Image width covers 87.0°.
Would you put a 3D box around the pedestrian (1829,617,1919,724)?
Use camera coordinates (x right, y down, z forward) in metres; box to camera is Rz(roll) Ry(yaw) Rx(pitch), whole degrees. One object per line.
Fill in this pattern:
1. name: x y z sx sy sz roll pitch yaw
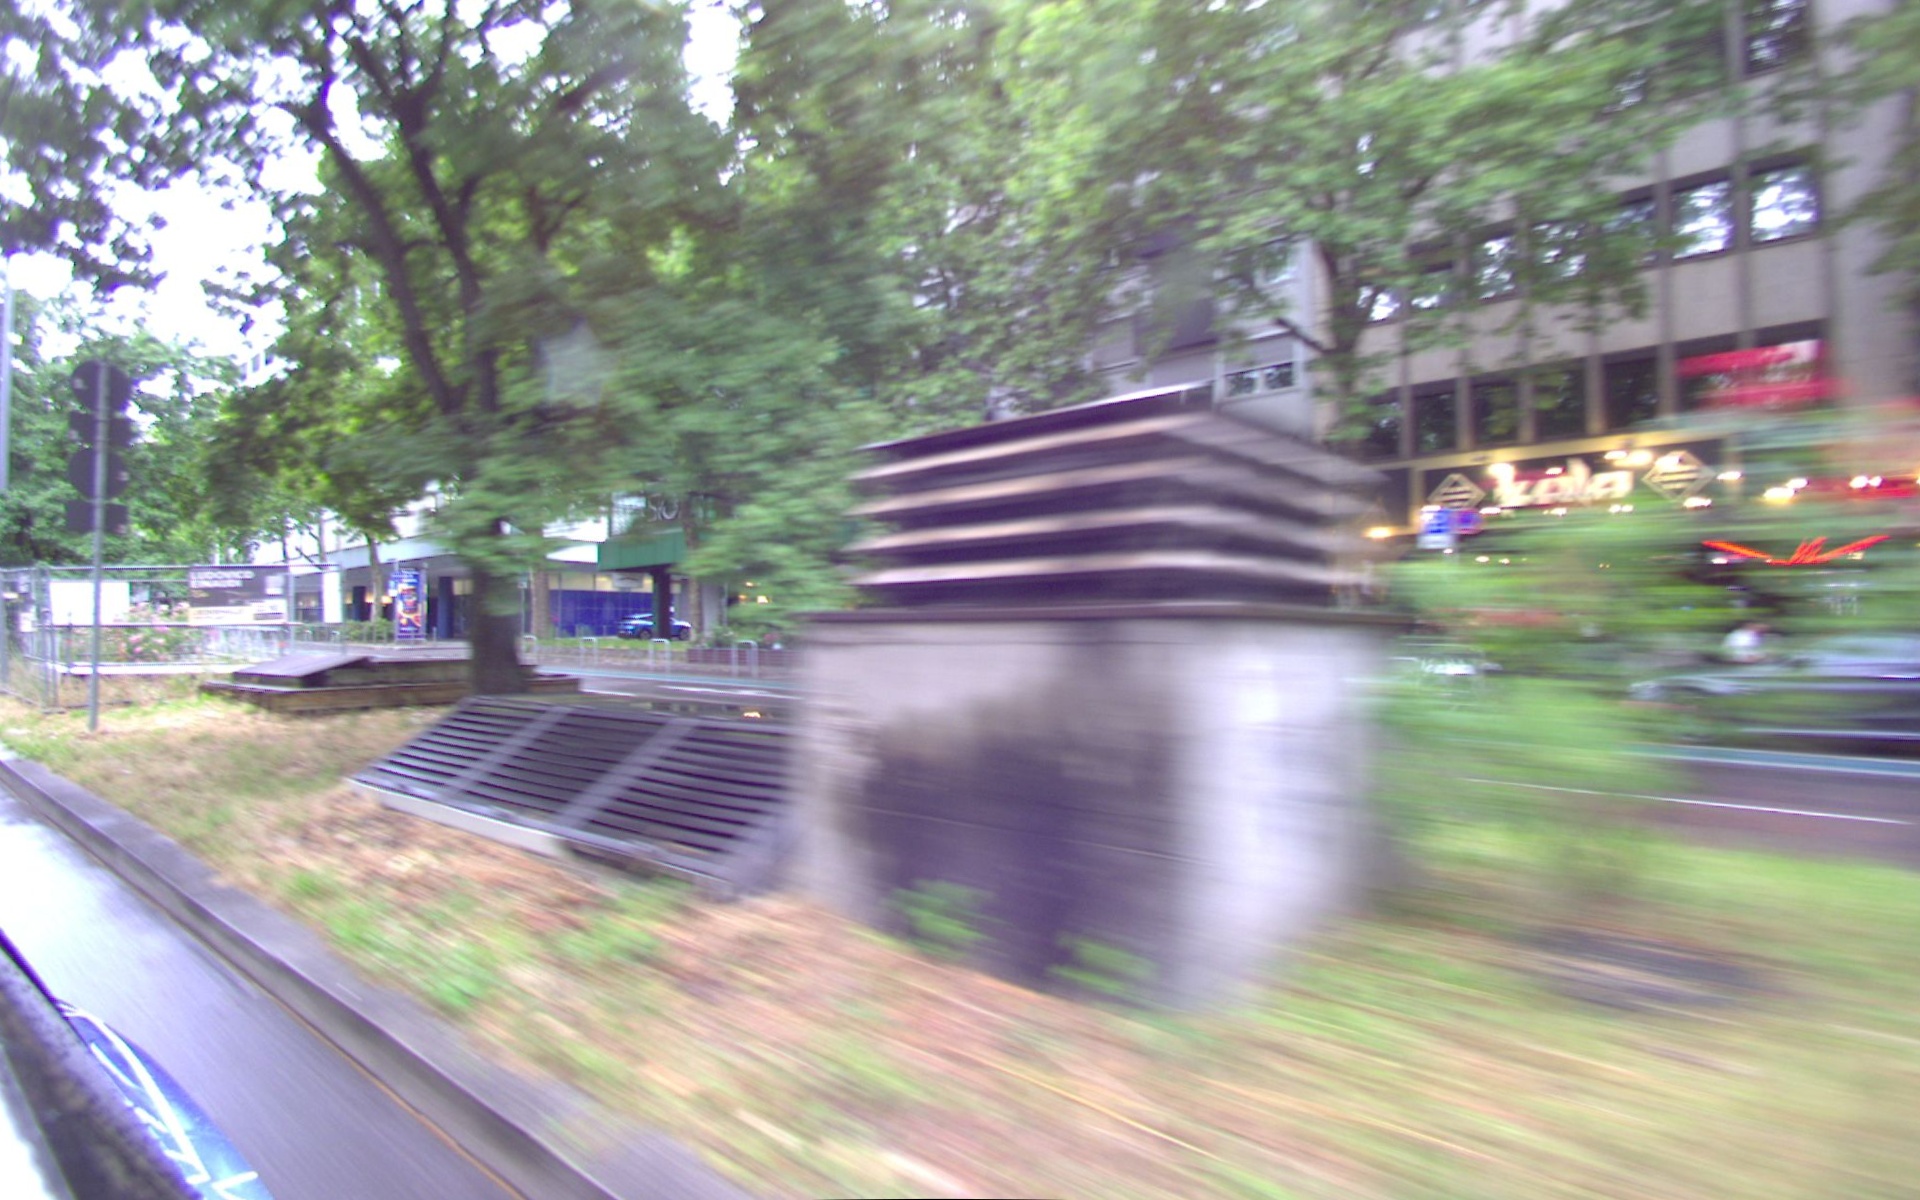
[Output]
1. pedestrian: 12.448 0.930 13.722 0.932 1.390 0.756 -2 -2 38

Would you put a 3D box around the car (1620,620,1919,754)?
1. car: 10.331 0.930 11.552 4.481 1.405 1.806 -1 -2 41

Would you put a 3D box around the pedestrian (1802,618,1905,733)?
1. pedestrian: 12.208 0.994 13.861 0.972 1.499 0.821 -1 -1 38

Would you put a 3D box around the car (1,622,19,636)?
1. car: -101.485 3.055 108.052 3.560 1.474 1.148 -2 -3 43
